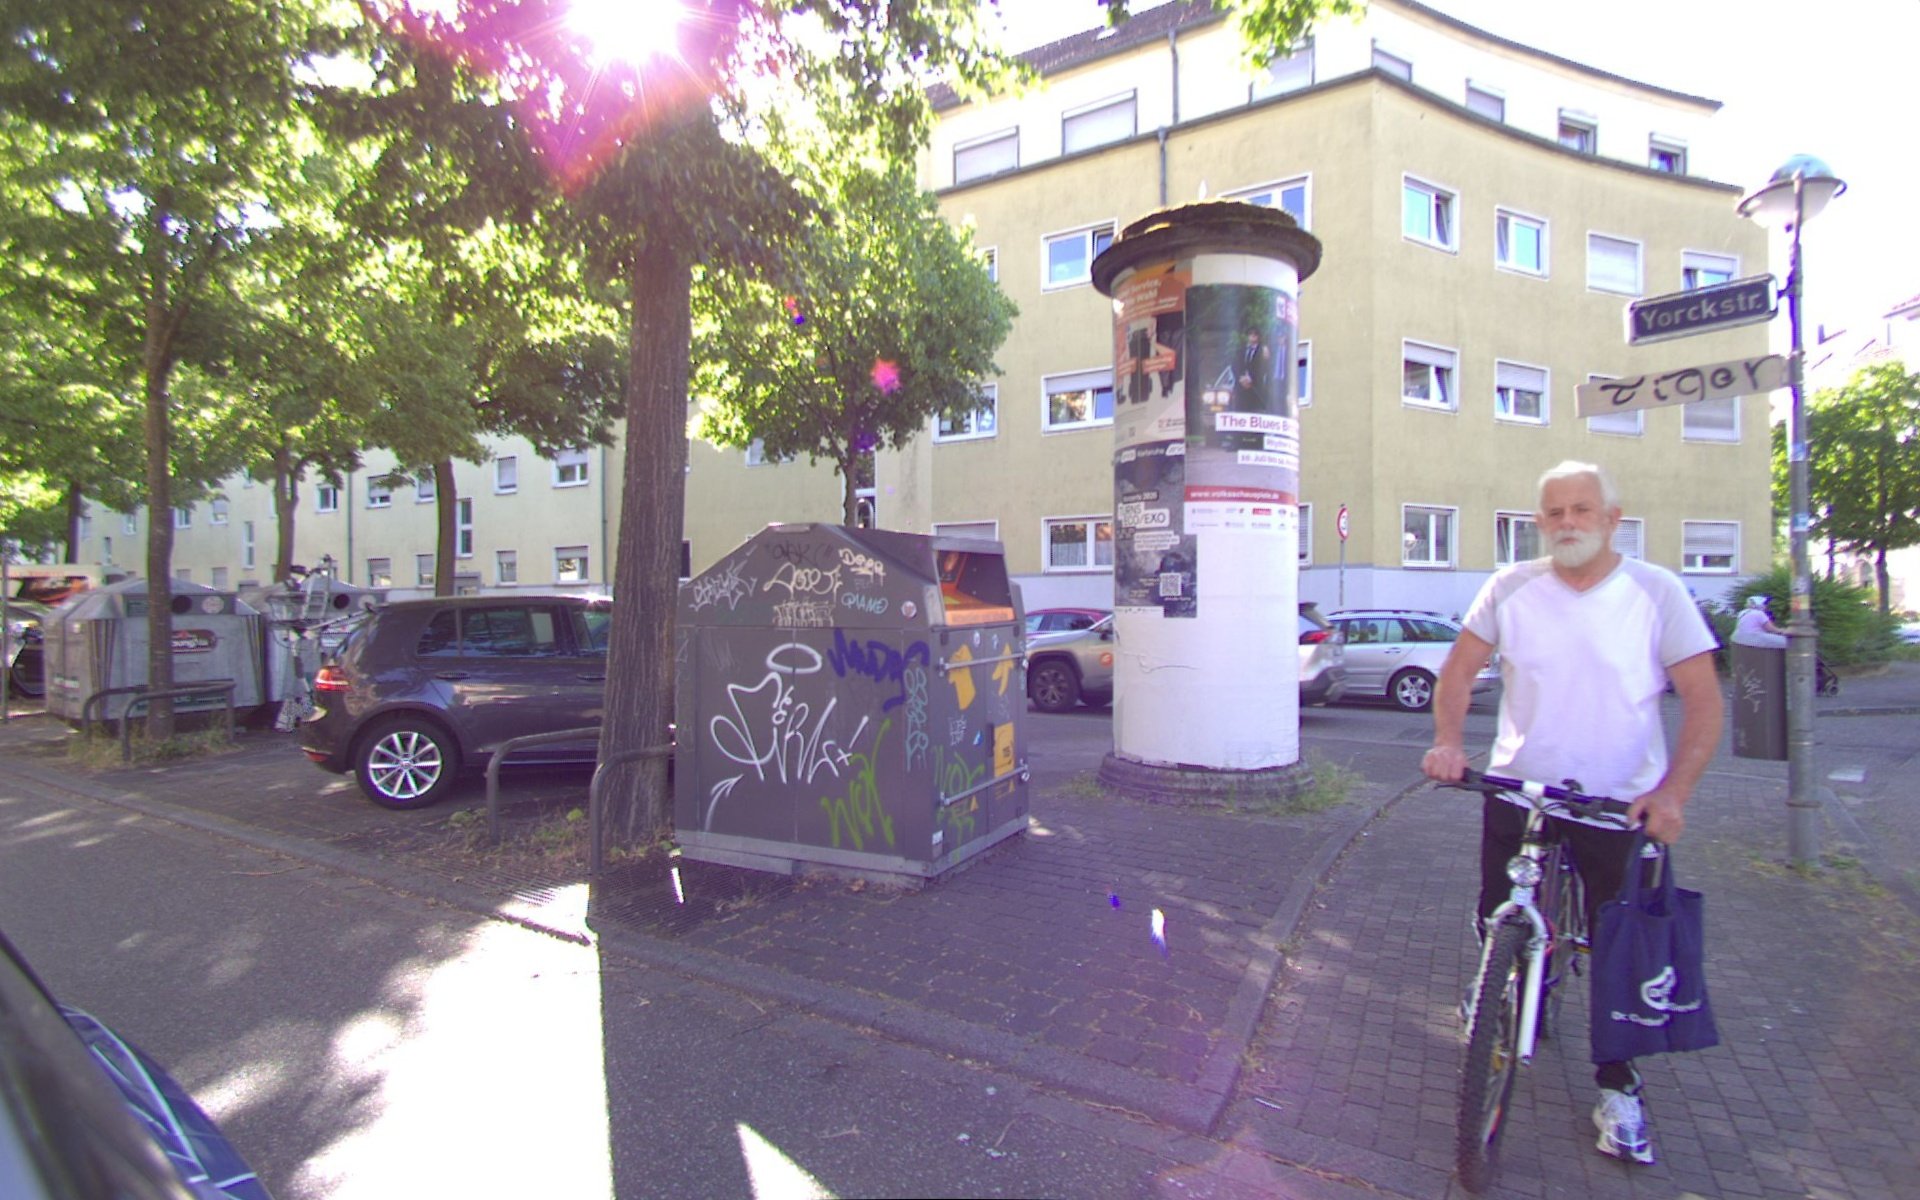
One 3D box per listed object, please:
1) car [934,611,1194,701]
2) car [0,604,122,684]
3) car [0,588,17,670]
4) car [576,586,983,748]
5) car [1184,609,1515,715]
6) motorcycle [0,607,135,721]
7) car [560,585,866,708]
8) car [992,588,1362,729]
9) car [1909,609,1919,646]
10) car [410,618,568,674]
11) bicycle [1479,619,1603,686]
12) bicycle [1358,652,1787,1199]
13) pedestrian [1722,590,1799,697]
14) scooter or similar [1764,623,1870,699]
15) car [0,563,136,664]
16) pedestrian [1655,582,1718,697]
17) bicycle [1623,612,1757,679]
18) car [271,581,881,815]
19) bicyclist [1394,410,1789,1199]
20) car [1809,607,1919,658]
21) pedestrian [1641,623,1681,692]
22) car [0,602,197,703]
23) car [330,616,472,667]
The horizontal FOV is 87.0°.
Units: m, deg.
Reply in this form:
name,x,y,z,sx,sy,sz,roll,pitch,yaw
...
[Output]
name,x,y,z,sx,sy,sz,roll,pitch,yaw
car,1.801,0.931,18.156,4.375,1.450,1.716,-1,-1,33
car,-18.828,0.832,19.353,3.931,1.464,1.829,0,-1,-18
car,-24.140,0.668,22.722,3.931,1.913,1.829,0,-1,-18
car,-1.908,0.622,10.684,3.931,1.484,1.765,0,-1,-17
car,5.882,0.863,15.493,4.477,1.422,1.713,-1,-1,33
motorcycle,-11.663,0.779,12.824,0.721,1.358,1.791,-1,-1,15
car,-3.357,0.588,14.309,1.759,1.484,3.945,-1,-1,41
car,2.860,0.716,13.661,4.597,1.642,1.715,-1,-1,30
car,33.798,0.912,33.246,1.776,1.265,3.716,0,-1,2
car,-13.130,1.232,28.171,4.375,1.450,2.021,-1,-1,33
bicycle,9.973,0.892,17.442,1.788,1.116,0.496,-1,-1,23
bicycle,1.802,0.795,2.833,0.764,1.207,1.845,-1,-1,39
pedestrian,12.000,0.641,15.184,0.690,1.535,0.647,-1,2,14
scooter or similar,12.814,0.906,15.167,0.890,1.030,0.914,-1,3,14
car,-24.493,0.351,26.207,4.514,2.509,1.993,0,-1,-23
pedestrian,11.060,0.597,15.425,0.603,1.705,0.552,-1,2,13
bicycle,12.404,0.773,17.230,1.779,1.116,0.499,-1,-1,9
car,-2.728,0.631,7.811,3.932,1.484,1.765,0,-1,-17
bicyclist,1.665,0.463,2.659,0.764,1.709,0.802,-1,-1,39
car,27.620,0.921,29.815,1.779,1.422,3.999,-1,-1,0
pedestrian,11.042,0.902,15.949,0.403,1.047,0.375,-1,2,13
car,-14.257,0.767,15.323,3.931,1.452,1.829,0,-1,-18
car,-17.035,1.212,30.793,4.375,1.450,2.021,-1,-1,33
